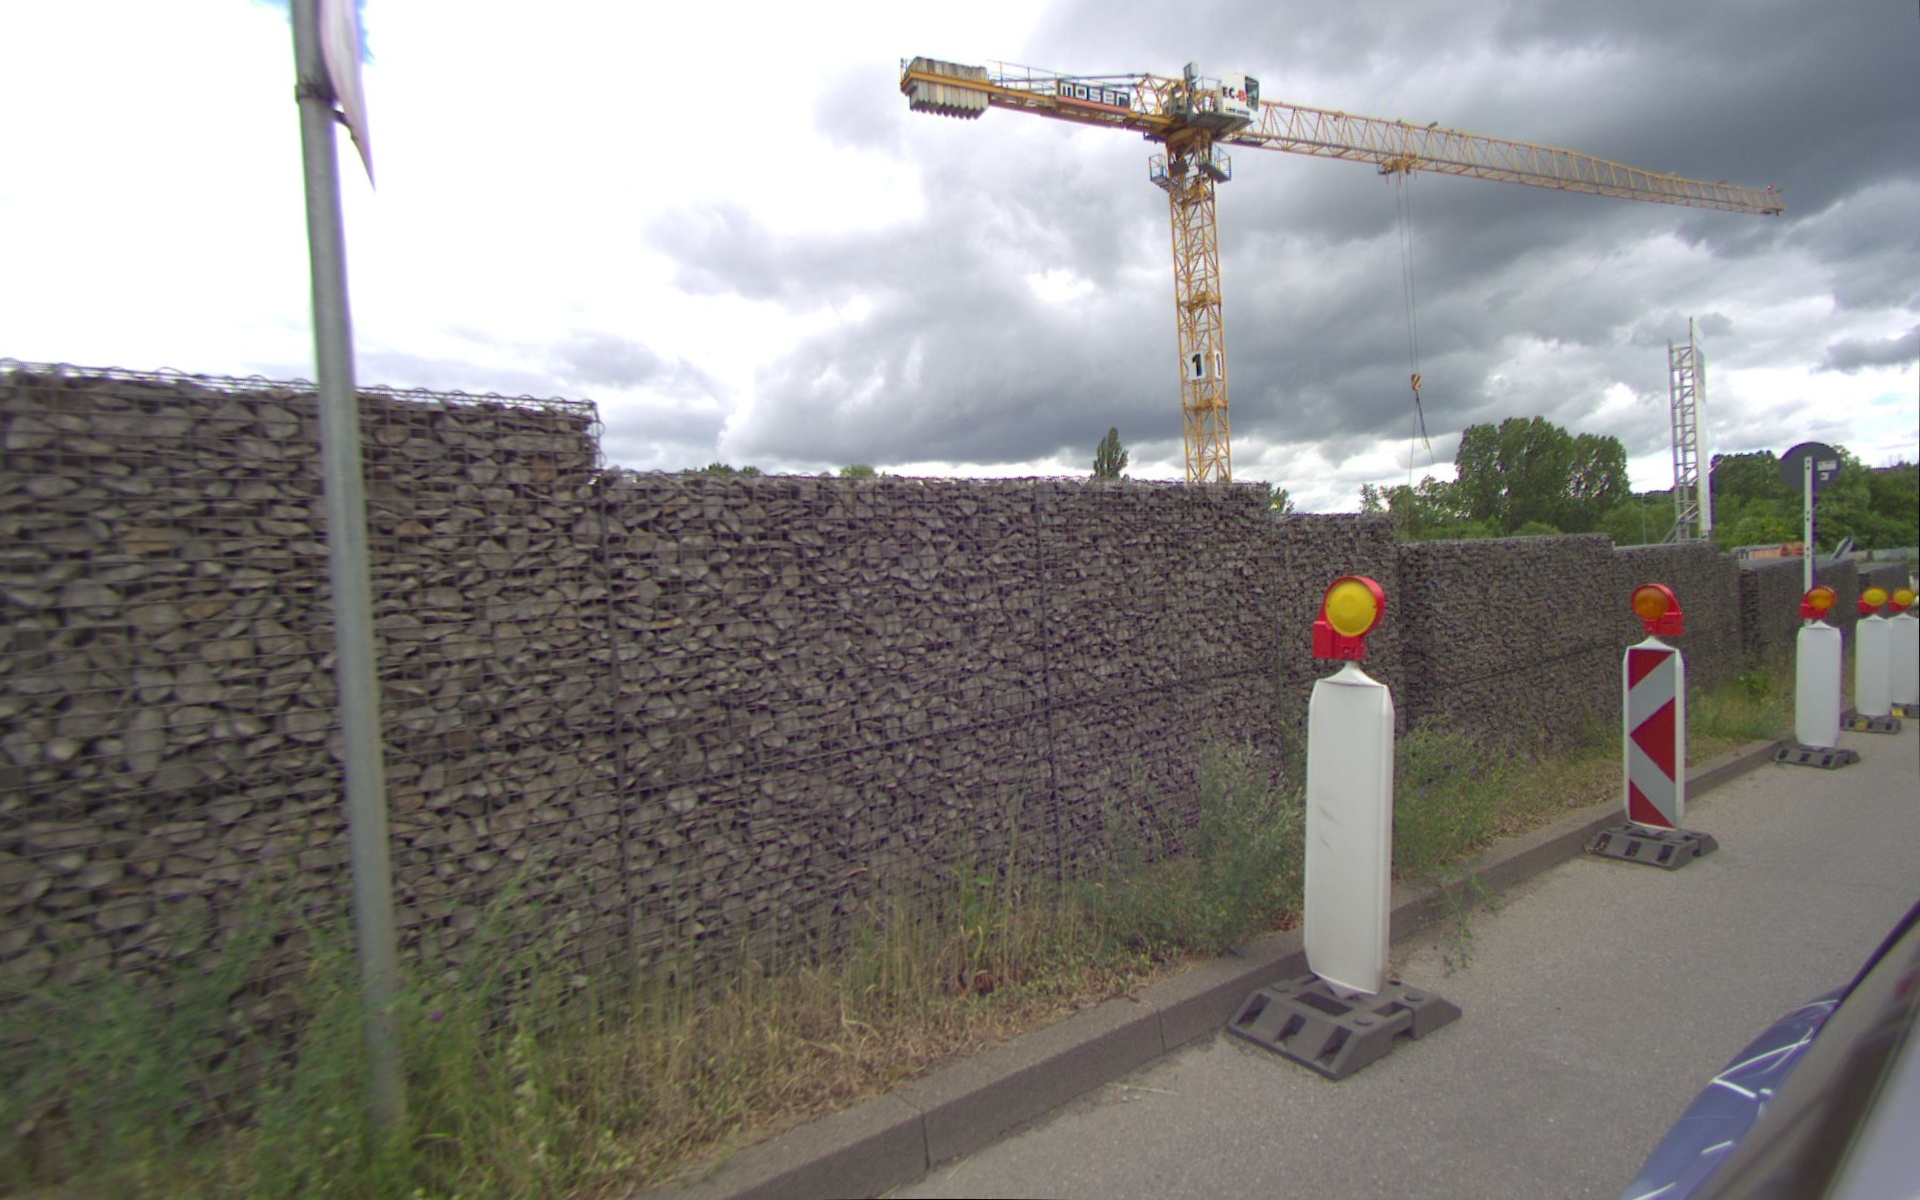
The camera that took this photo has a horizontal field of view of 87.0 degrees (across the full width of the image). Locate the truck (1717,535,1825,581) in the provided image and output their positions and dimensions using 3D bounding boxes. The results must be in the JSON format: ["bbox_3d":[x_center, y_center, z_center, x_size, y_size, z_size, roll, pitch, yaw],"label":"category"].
[{"bbox_3d":[79.724,-4.049,99.854,2.987,3.947,9.990,-4,0,5],"label":"truck"}]

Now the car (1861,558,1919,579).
[{"bbox_3d":[78.105,-2.622,84.718,1.863,1.583,4.091,-4,0,8],"label":"car"}]
